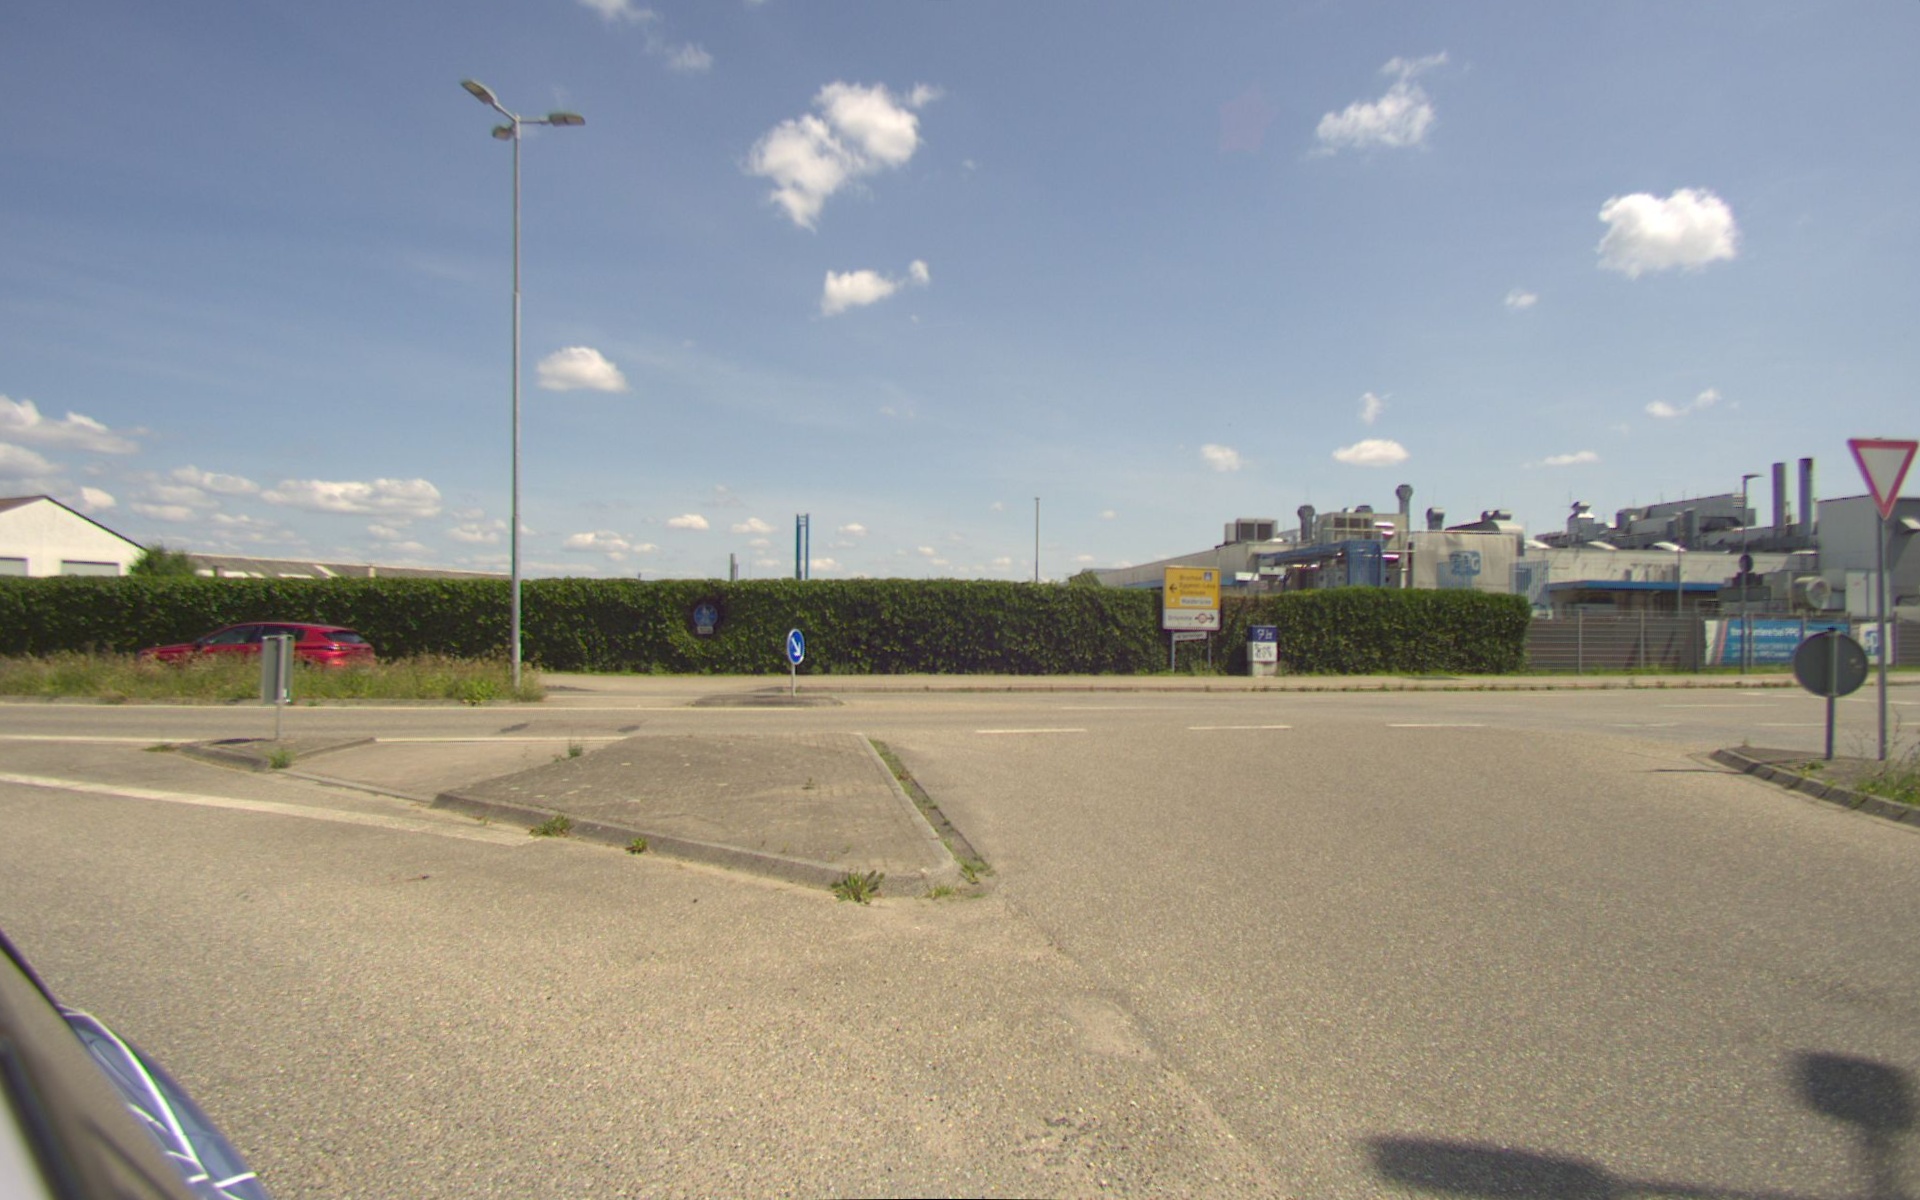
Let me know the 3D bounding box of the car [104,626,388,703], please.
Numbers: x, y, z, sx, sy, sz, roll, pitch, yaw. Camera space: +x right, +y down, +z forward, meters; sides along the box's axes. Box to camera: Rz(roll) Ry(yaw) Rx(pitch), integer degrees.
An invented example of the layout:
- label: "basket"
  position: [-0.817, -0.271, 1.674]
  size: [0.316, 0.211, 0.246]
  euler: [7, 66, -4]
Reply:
- label: "car"
  position: [-14.323, 1.304, 20.523]
  size: [4.320, 1.475, 1.888]
  euler: [0, -3, -5]
